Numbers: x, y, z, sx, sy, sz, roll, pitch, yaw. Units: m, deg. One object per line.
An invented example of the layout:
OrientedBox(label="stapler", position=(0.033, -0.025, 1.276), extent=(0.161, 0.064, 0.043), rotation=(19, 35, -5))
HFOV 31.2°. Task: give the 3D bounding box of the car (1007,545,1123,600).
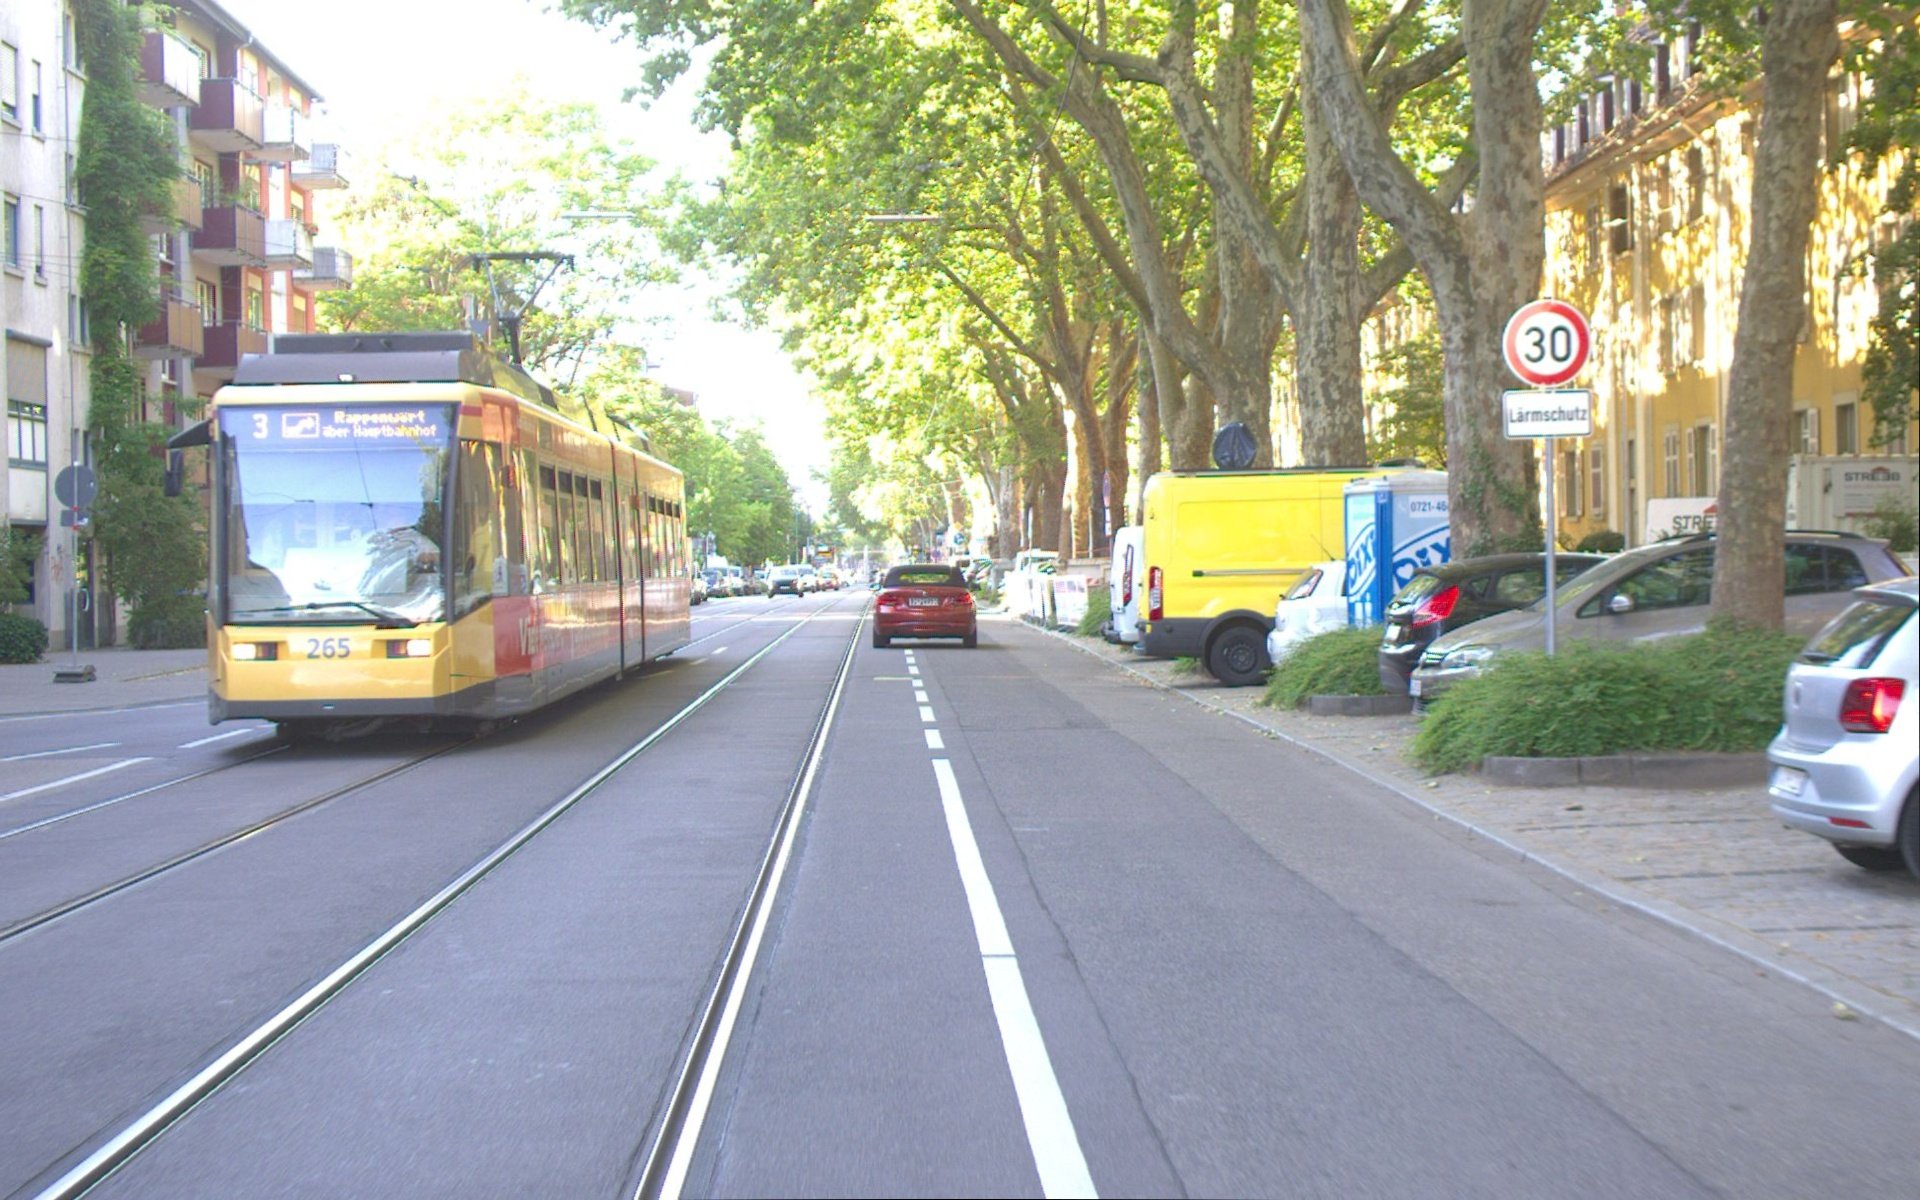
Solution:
OrientedBox(label="car", position=(3.564, -0.942, 115.880), extent=(3.844, 1.766, 1.916), rotation=(-1, 0, 3))

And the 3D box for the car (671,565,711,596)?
OrientedBox(label="car", position=(-13.447, -0.985, 172.142), extent=(1.836, 1.463, 5.070), rotation=(2, 1, -3))

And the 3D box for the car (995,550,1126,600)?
OrientedBox(label="car", position=(3.242, -0.796, 111.594), extent=(4.087, 1.516, 1.917), rotation=(-1, 0, -2))

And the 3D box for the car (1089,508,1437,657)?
OrientedBox(label="car", position=(4.398, -0.274, 50.414), extent=(4.834, 2.006, 2.064), rotation=(-2, 1, -1))

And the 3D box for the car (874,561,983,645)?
OrientedBox(label="car", position=(-0.547, 0.029, 59.150), extent=(1.792, 1.384, 4.236), rotation=(0, 1, -1))

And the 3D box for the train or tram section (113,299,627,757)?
OrientedBox(label="train or tram section", position=(-5.200, -0.640, 33.220), extent=(2.908, 3.474, 13.370), rotation=(-1, 1, -1))

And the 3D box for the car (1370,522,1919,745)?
OrientedBox(label="car", position=(5.439, 0.242, 27.221), extent=(4.076, 1.544, 1.831), rotation=(-2, 0, -1))

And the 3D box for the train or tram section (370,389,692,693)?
OrientedBox(label="train or tram section", position=(-5.536, -0.777, 47.078), extent=(2.908, 3.474, 14.199), rotation=(-1, 1, -1))

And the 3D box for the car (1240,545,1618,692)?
OrientedBox(label="car", position=(5.136, 0.185, 38.019), extent=(3.906, 1.484, 1.863), rotation=(-2, 1, 1))

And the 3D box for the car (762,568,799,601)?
OrientedBox(label="car", position=(-9.354, -0.796, 179.576), extent=(1.853, 1.595, 4.464), rotation=(1, -1, -2))

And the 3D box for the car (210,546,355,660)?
OrientedBox(label="car", position=(-11.052, 0.005, 56.316), extent=(1.788, 1.765, 4.472), rotation=(-1, 1, -4))

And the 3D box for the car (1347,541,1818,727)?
OrientedBox(label="car", position=(5.366, 0.270, 29.905), extent=(3.652, 1.422, 1.738), rotation=(-2, 1, -4))

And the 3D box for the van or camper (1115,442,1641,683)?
OrientedBox(label="van or camper", position=(4.870, -0.430, 40.831), extent=(5.926, 2.620, 2.270), rotation=(-2, 0, 1))

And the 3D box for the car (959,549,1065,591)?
OrientedBox(label="car", position=(2.275, -1.309, 150.628), extent=(4.496, 1.596, 2.027), rotation=(-3, 0, 3))

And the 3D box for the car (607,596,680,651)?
OrientedBox(label="car", position=(-8.863, 0.648, 96.502), extent=(1.795, 1.441, 4.717), rotation=(0, 1, -2))

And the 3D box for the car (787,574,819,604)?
OrientedBox(label="car", position=(-10.047, -0.714, 219.946), extent=(1.891, 1.826, 4.896), rotation=(-1, 1, -2))

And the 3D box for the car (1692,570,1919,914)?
OrientedBox(label="car", position=(5.408, 0.555, 15.781), extent=(3.651, 1.419, 1.865), rotation=(-2, 1, 0))
